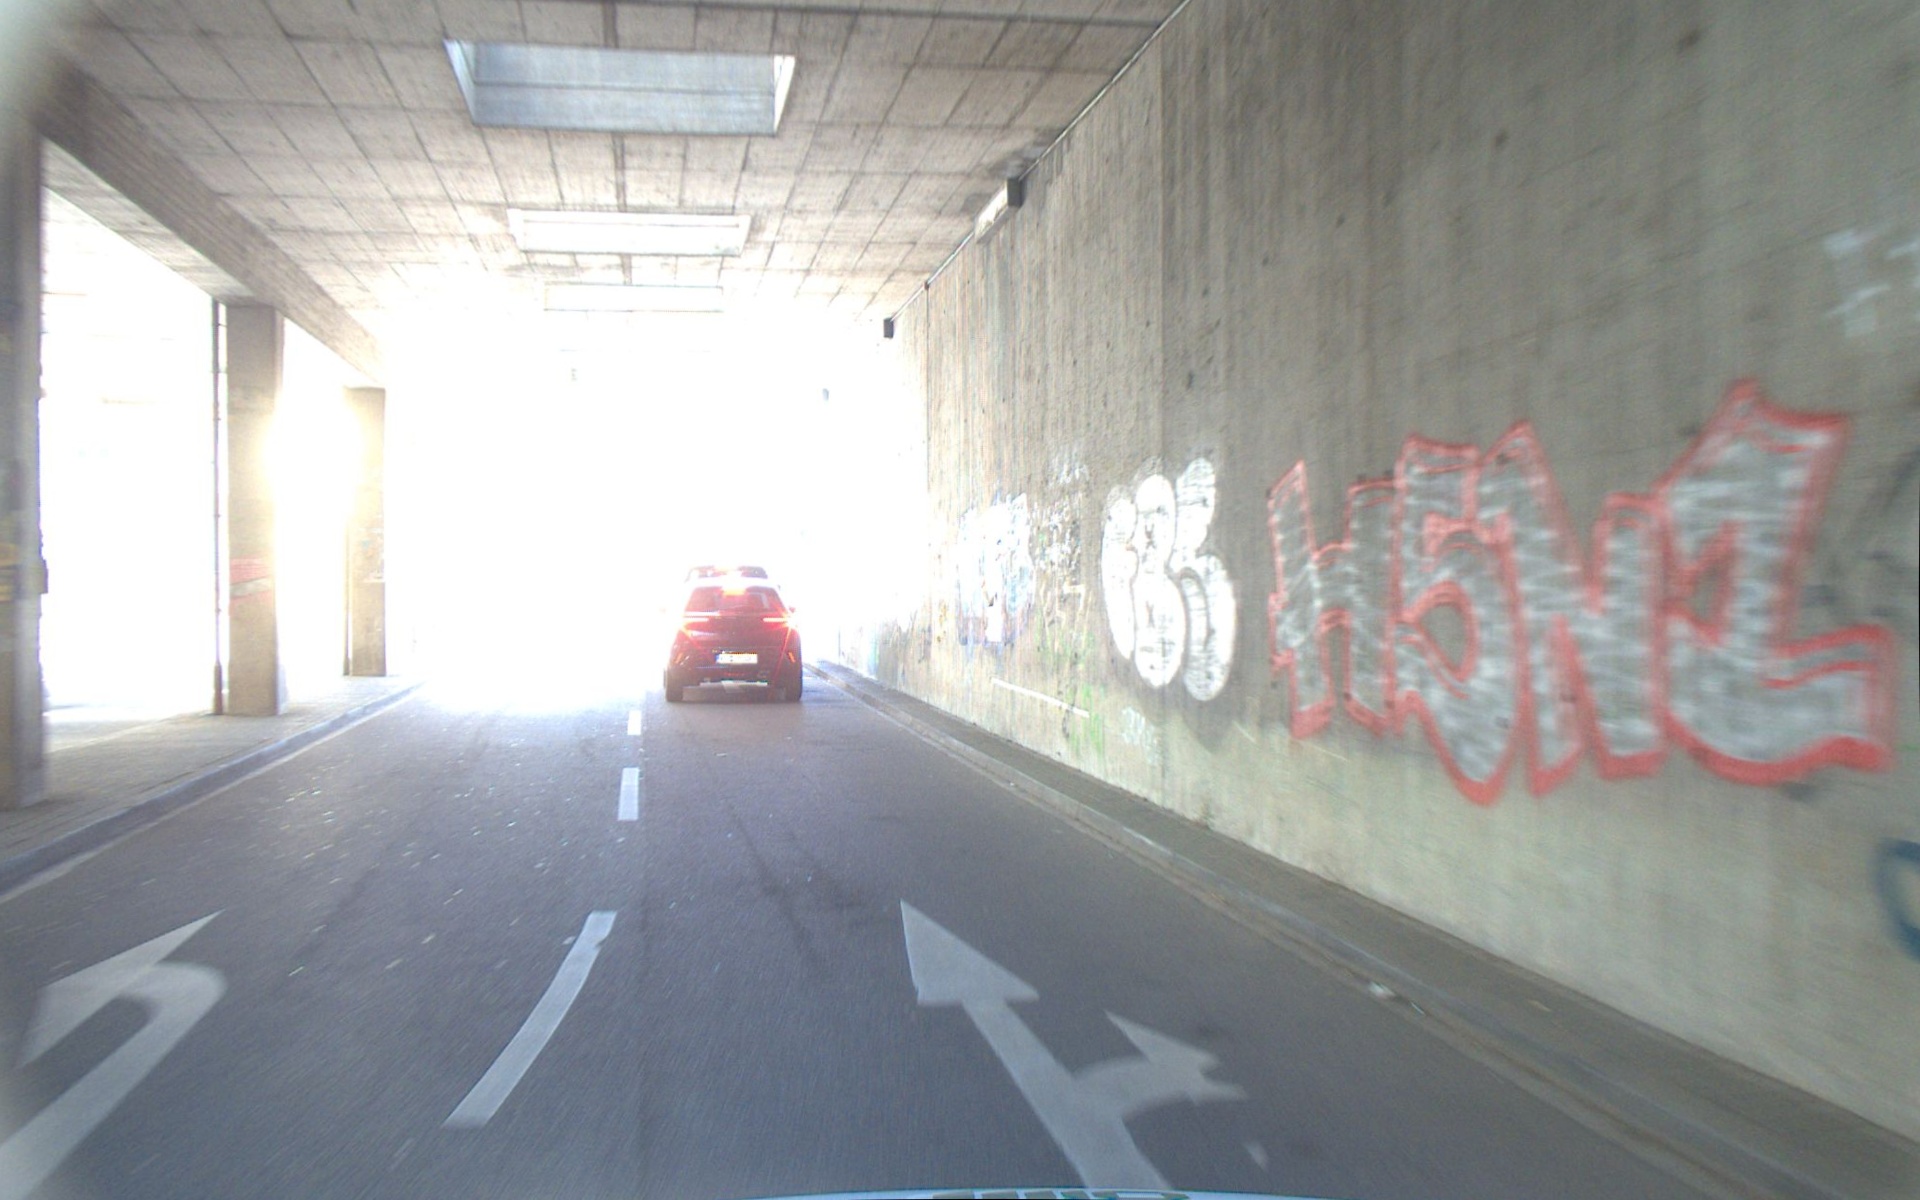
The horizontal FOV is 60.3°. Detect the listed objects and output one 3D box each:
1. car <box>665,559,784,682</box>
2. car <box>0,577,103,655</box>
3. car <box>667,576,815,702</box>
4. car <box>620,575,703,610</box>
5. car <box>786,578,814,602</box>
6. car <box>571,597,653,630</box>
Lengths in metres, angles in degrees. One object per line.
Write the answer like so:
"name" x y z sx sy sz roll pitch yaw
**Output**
"car" -4.162 0.285 28.689 1.783 1.915 4.573 -1 1 -11
"car" -26.635 0.442 46.131 4.399 2.048 1.995 -1 3 -11
"car" -3.073 0.446 22.564 1.793 1.527 4.201 -1 1 -10
"car" -15.840 -0.415 87.982 4.069 1.769 1.999 -1 1 -4
"car" -14.748 -0.940 152.809 1.952 2.048 4.270 -1 1 2
"car" -17.489 0.679 83.209 3.911 1.601 1.637 -1 0 -7
